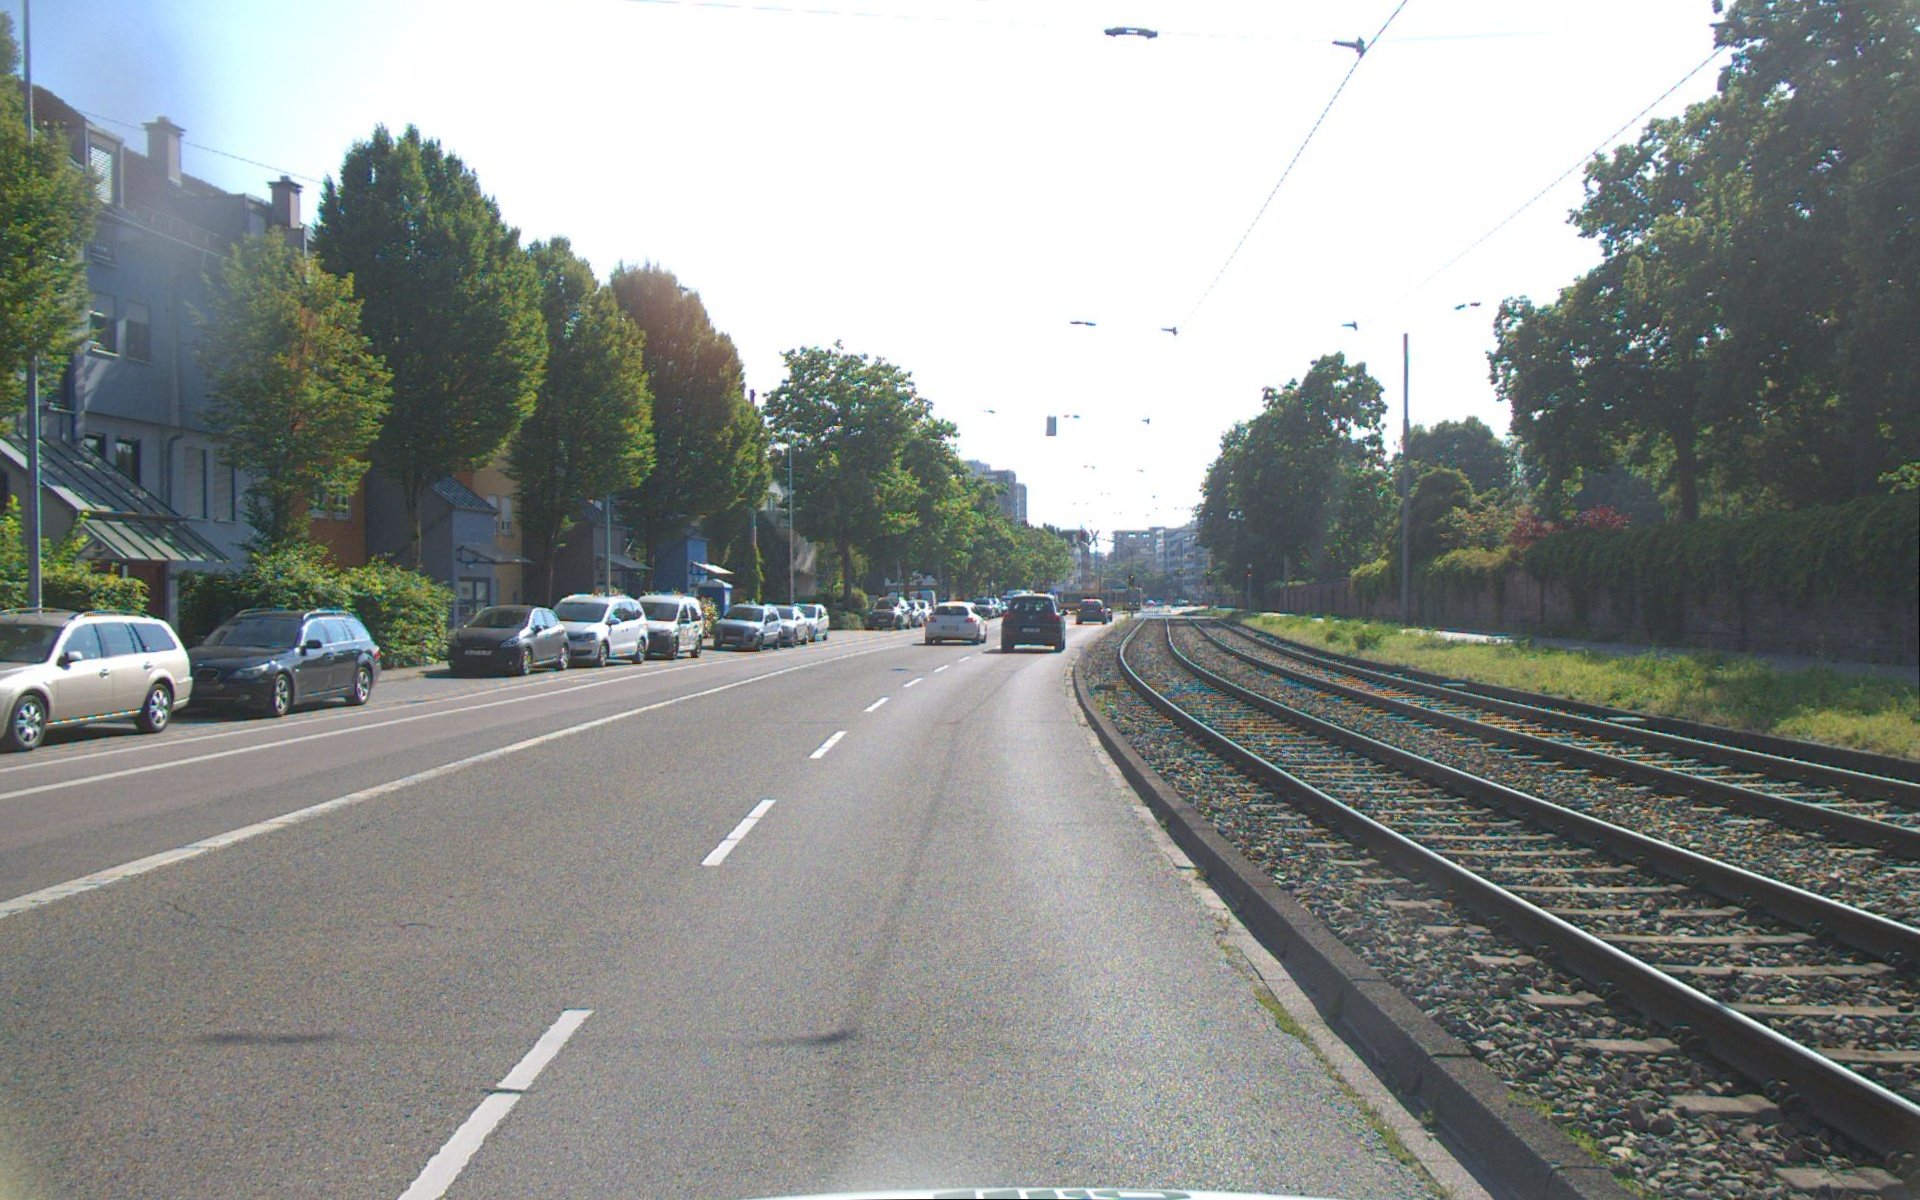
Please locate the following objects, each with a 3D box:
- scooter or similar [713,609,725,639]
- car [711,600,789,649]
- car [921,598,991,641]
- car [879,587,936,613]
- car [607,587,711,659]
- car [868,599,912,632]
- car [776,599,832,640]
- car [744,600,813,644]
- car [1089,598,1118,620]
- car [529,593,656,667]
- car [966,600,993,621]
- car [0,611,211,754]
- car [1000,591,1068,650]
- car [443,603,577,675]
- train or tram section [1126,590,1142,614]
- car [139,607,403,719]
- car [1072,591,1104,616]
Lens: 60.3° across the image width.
[{"bbox_3d":[-9.556,0.957,65.655,0.287,1.174,1.043,-1,0,2],"label":"scooter or similar"},{"bbox_3d":[-7.374,0.843,58.420,1.726,1.565,3.984,4,0,7],"label":"car"},{"bbox_3d":[-0.099,0.620,55.046,1.825,1.371,4.003,0,0,7],"label":"car"},{"bbox_3d":[-5.158,0.013,162.465,5.261,2.466,2.089,-1,0,7],"label":"car"},{"bbox_3d":[-8.752,0.652,48.472,1.726,1.877,4.583,4,0,5],"label":"car"},{"bbox_3d":[-3.777,0.808,90.006,1.675,1.723,4.425,0,0,7],"label":"car"},{"bbox_3d":[-6.467,0.792,68.831,1.567,1.520,3.511,4,0,6],"label":"car"},{"bbox_3d":[-6.911,0.809,63.544,1.712,1.537,4.758,4,0,4],"label":"car"},{"bbox_3d":[9.808,0.602,112.685,1.773,1.474,4.003,1,0,7],"label":"car"},{"bbox_3d":[-9.280,0.721,42.151,1.633,1.730,4.827,1,0,7],"label":"car"},{"bbox_3d":[1.619,0.868,138.386,1.695,1.687,4.003,-1,0,8],"label":"car"},{"bbox_3d":[-10.927,0.896,19.690,1.677,1.497,4.845,1,-1,1],"label":"car"},{"bbox_3d":[2.227,0.597,48.766,1.773,1.673,4.002,0,0,6],"label":"car"},{"bbox_3d":[-9.962,0.825,36.929,1.582,1.491,4.060,1,0,4],"label":"car"},{"bbox_3d":[26.983,0.246,255.971,2.277,3.632,8.906,-1,0,7],"label":"train or tram section"},{"bbox_3d":[-10.460,0.891,25.560,1.674,1.497,4.912,2,0,4],"label":"car"},{"bbox_3d":[7.616,0.202,98.147,1.773,1.474,4.003,1,0,7],"label":"car"}]
